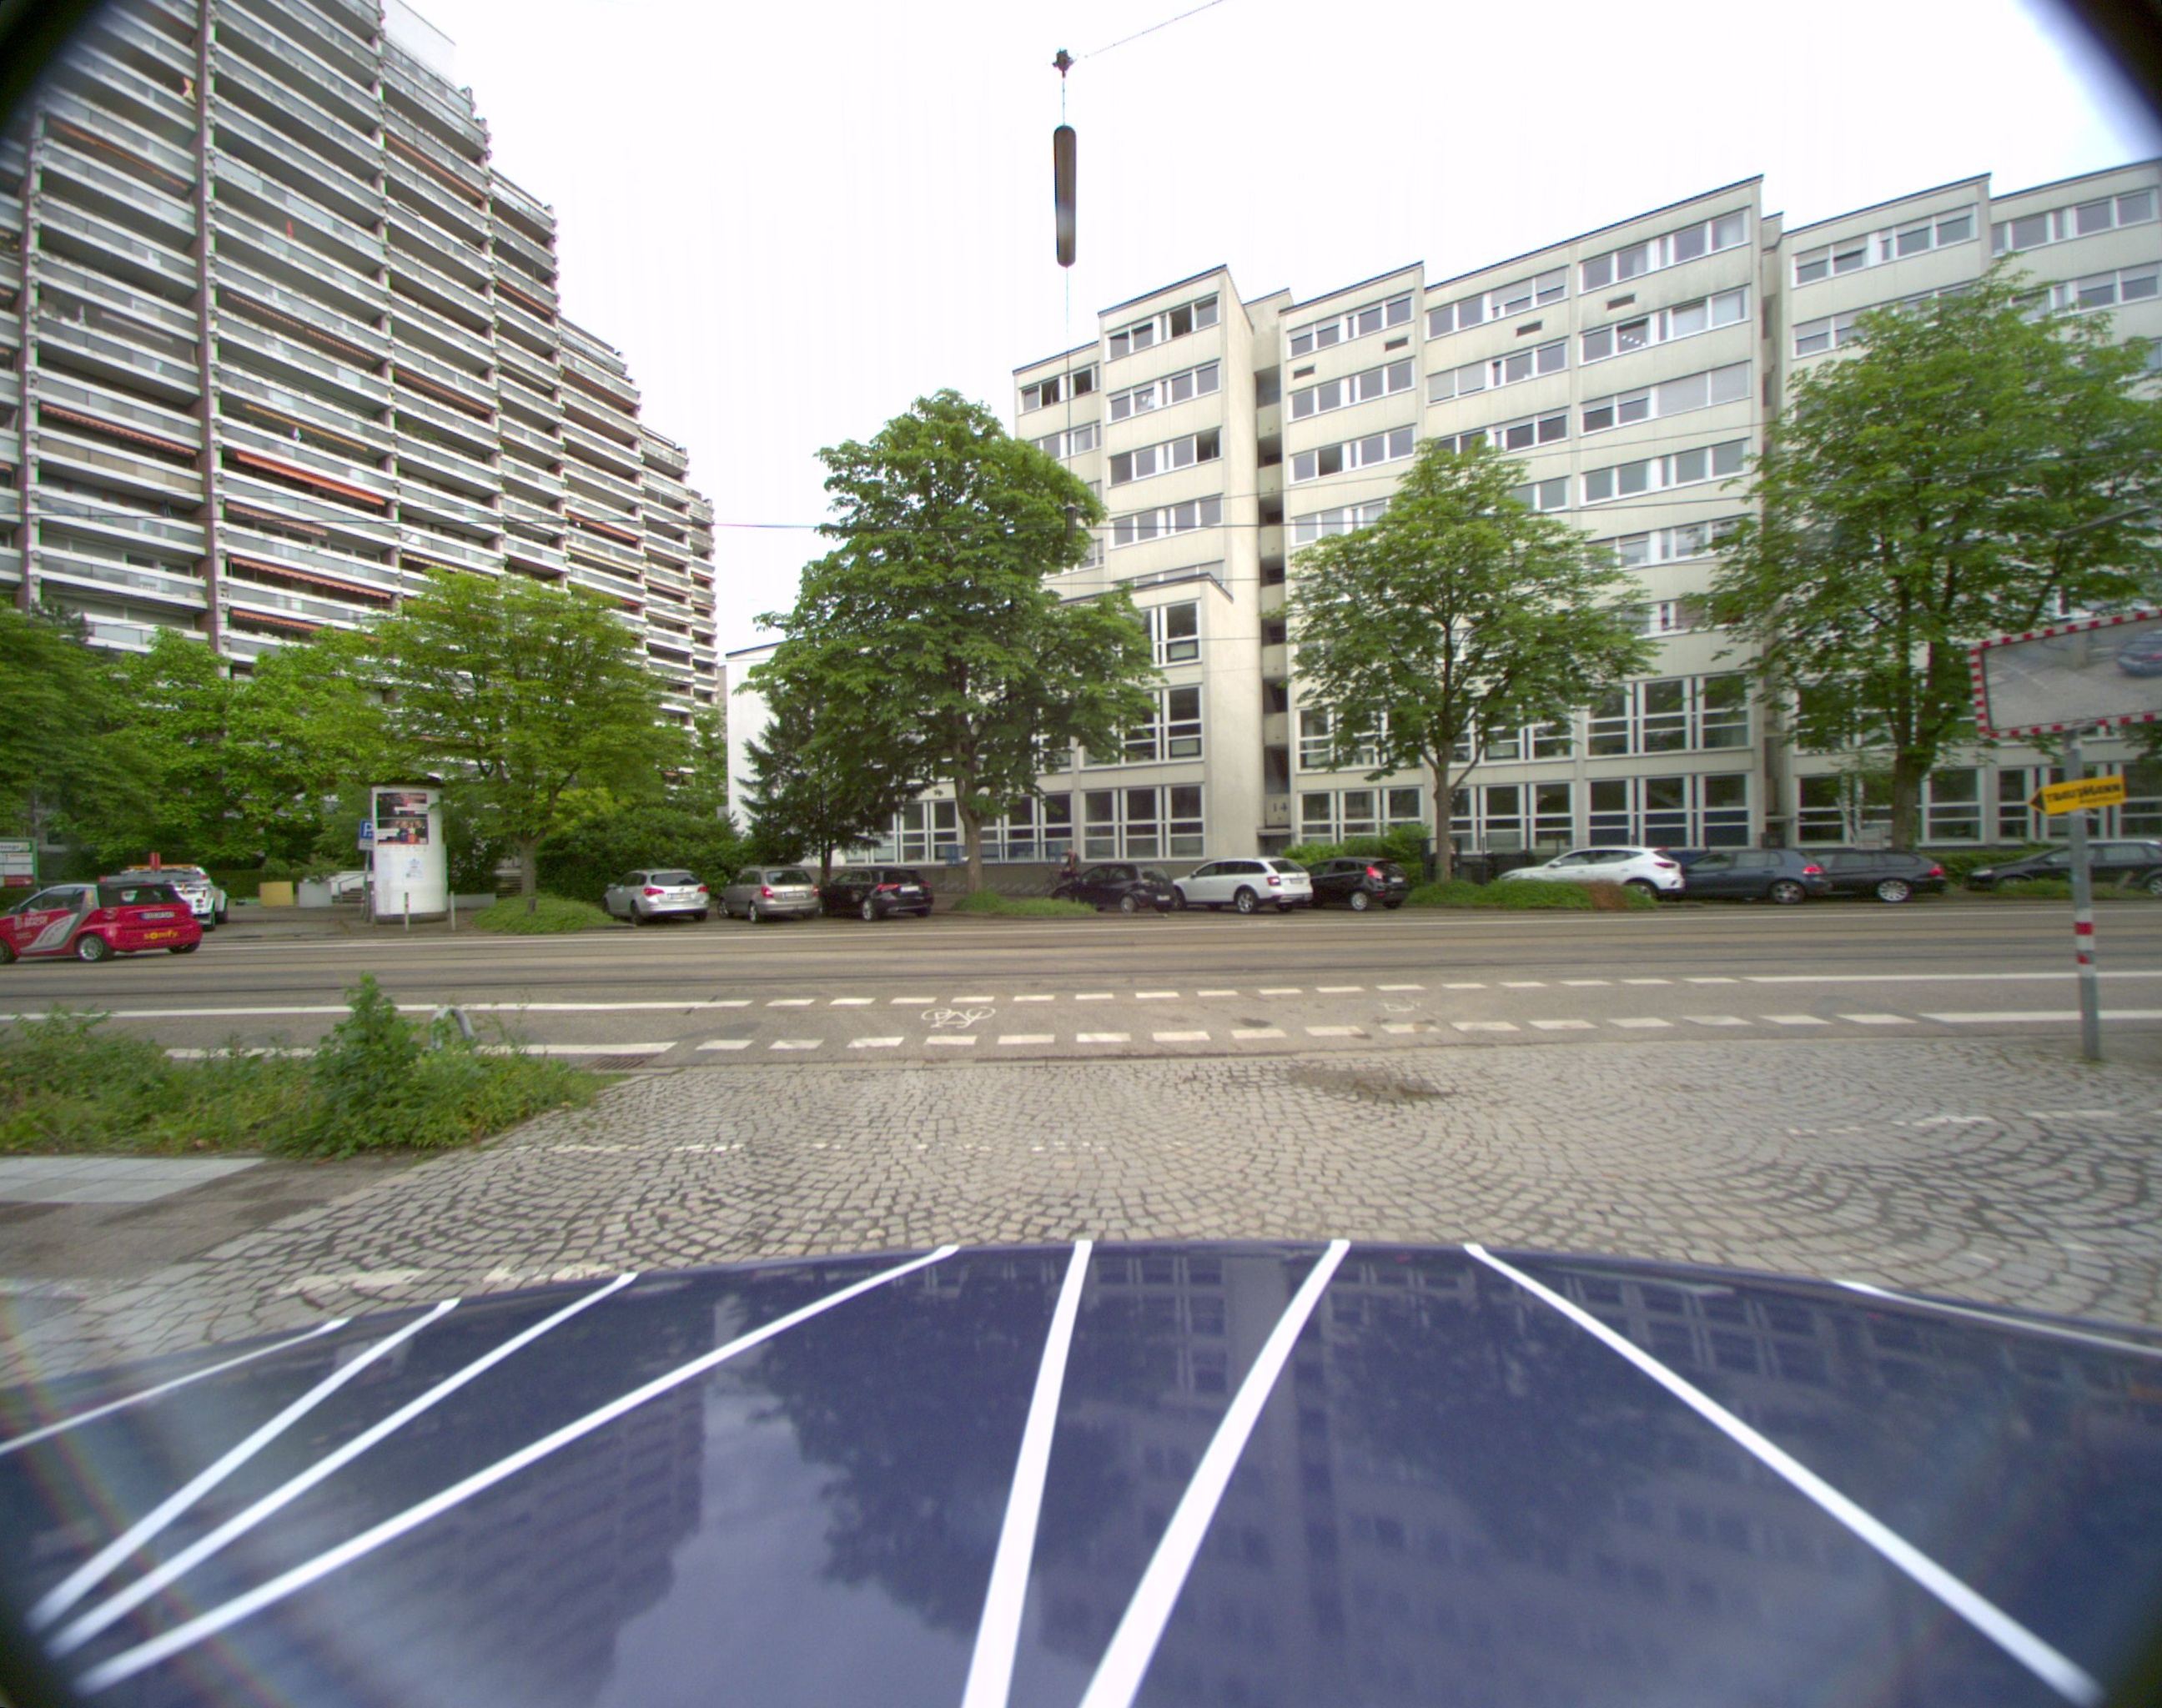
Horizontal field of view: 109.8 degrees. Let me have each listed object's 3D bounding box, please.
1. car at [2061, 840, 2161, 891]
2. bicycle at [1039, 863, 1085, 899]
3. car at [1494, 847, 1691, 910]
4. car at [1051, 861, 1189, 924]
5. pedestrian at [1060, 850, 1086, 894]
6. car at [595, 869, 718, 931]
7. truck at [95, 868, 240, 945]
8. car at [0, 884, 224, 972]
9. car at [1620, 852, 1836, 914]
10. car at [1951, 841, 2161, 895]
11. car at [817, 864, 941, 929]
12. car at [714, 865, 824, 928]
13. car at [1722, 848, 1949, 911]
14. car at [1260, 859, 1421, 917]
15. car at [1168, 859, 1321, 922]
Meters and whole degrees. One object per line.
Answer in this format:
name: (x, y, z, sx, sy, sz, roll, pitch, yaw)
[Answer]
car: (30.405, 0.303, 20.960, 1.703, 1.344, 3.957, -3, 2, -44)
bicycle: (-0.685, 0.963, 27.474, 1.593, 1.261, 0.406, -1, 0, 10)
car: (14.107, 0.620, 21.123, 4.334, 1.547, 1.703, 0, 2, 42)
car: (1.031, 0.996, 21.337, 1.703, 1.515, 3.695, -3, 2, -43)
pedestrian: (-0.288, 0.657, 28.084, 0.753, 1.603, 0.735, 1, 3, 22)
car: (-12.066, 1.203, 21.465, 4.419, 1.456, 1.807, 0, 1, 44)
truck: (-25.873, 1.379, 21.720, 2.004, 1.838, 5.050, -2, 1, -43)
car: (-19.298, 1.424, 15.010, 2.779, 1.514, 1.681, -1, 2, 1)
car: (17.500, 0.711, 20.709, 1.703, 1.445, 4.334, -3, 2, -44)
car: (27.108, 0.347, 20.978, 1.703, 1.344, 3.957, -3, 2, -44)
car: (-5.600, 1.093, 20.831, 1.703, 1.515, 3.695, -3, 2, -43)
car: (-8.708, 1.100, 21.072, 1.576, 1.515, 3.641, -3, 2, -43)
car: (20.642, 0.624, 21.003, 1.703, 1.527, 4.334, -3, 2, -44)
car: (7.175, 0.874, 21.363, 1.703, 1.398, 4.017, -2, 2, -36)
car: (4.434, 0.933, 21.086, 1.703, 1.476, 4.017, -2, 2, -36)
